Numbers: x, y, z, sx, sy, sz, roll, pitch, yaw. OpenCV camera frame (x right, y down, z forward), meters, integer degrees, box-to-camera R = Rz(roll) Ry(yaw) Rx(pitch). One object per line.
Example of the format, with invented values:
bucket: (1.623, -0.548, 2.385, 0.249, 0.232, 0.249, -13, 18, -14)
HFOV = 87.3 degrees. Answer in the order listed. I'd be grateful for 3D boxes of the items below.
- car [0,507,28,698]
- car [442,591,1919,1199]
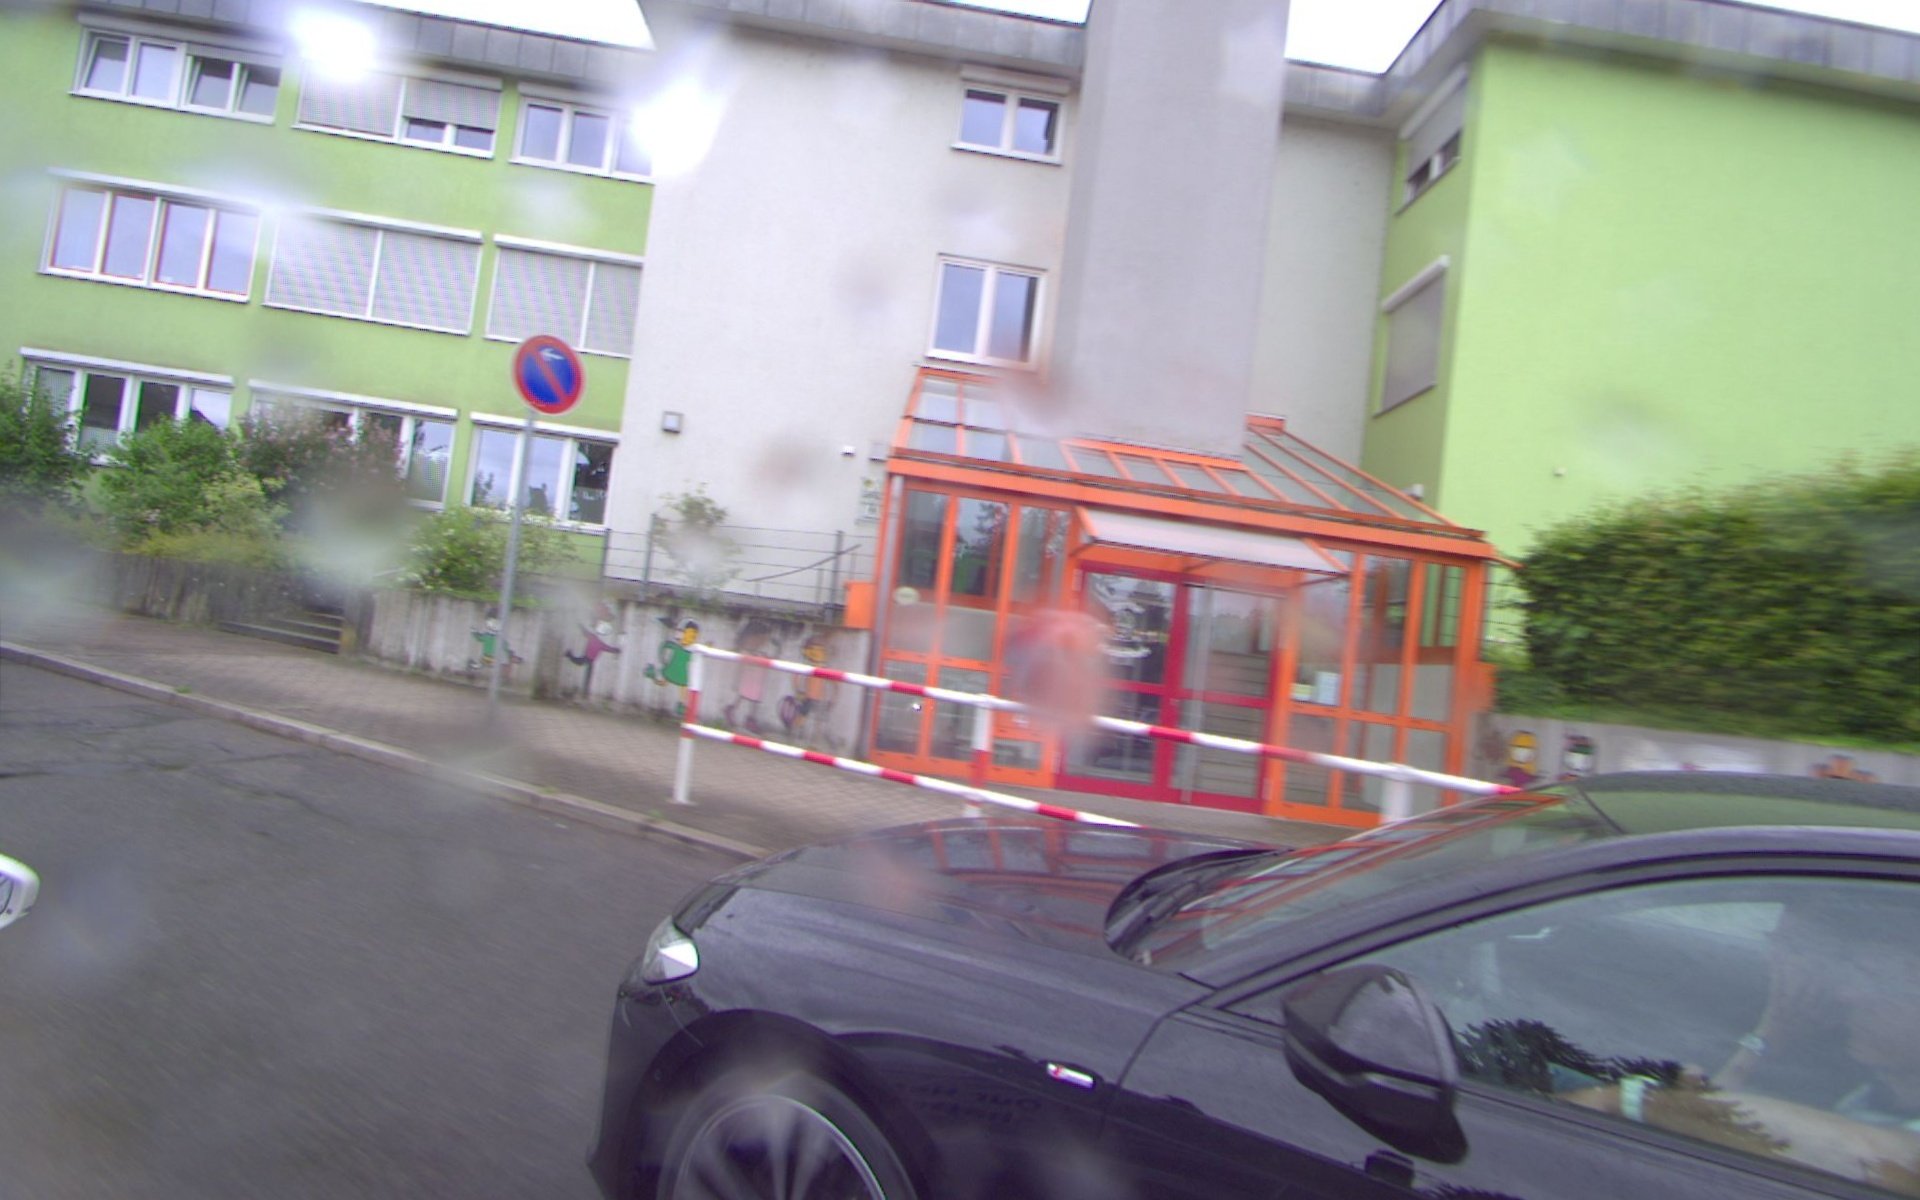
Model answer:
car: (-9.462, -0.260, 7.864, 3.929, 1.466, 1.762, 7, -2, 26)
car: (1.358, 0.957, 1.817, 4.662, 1.440, 1.870, 5, -3, 32)
